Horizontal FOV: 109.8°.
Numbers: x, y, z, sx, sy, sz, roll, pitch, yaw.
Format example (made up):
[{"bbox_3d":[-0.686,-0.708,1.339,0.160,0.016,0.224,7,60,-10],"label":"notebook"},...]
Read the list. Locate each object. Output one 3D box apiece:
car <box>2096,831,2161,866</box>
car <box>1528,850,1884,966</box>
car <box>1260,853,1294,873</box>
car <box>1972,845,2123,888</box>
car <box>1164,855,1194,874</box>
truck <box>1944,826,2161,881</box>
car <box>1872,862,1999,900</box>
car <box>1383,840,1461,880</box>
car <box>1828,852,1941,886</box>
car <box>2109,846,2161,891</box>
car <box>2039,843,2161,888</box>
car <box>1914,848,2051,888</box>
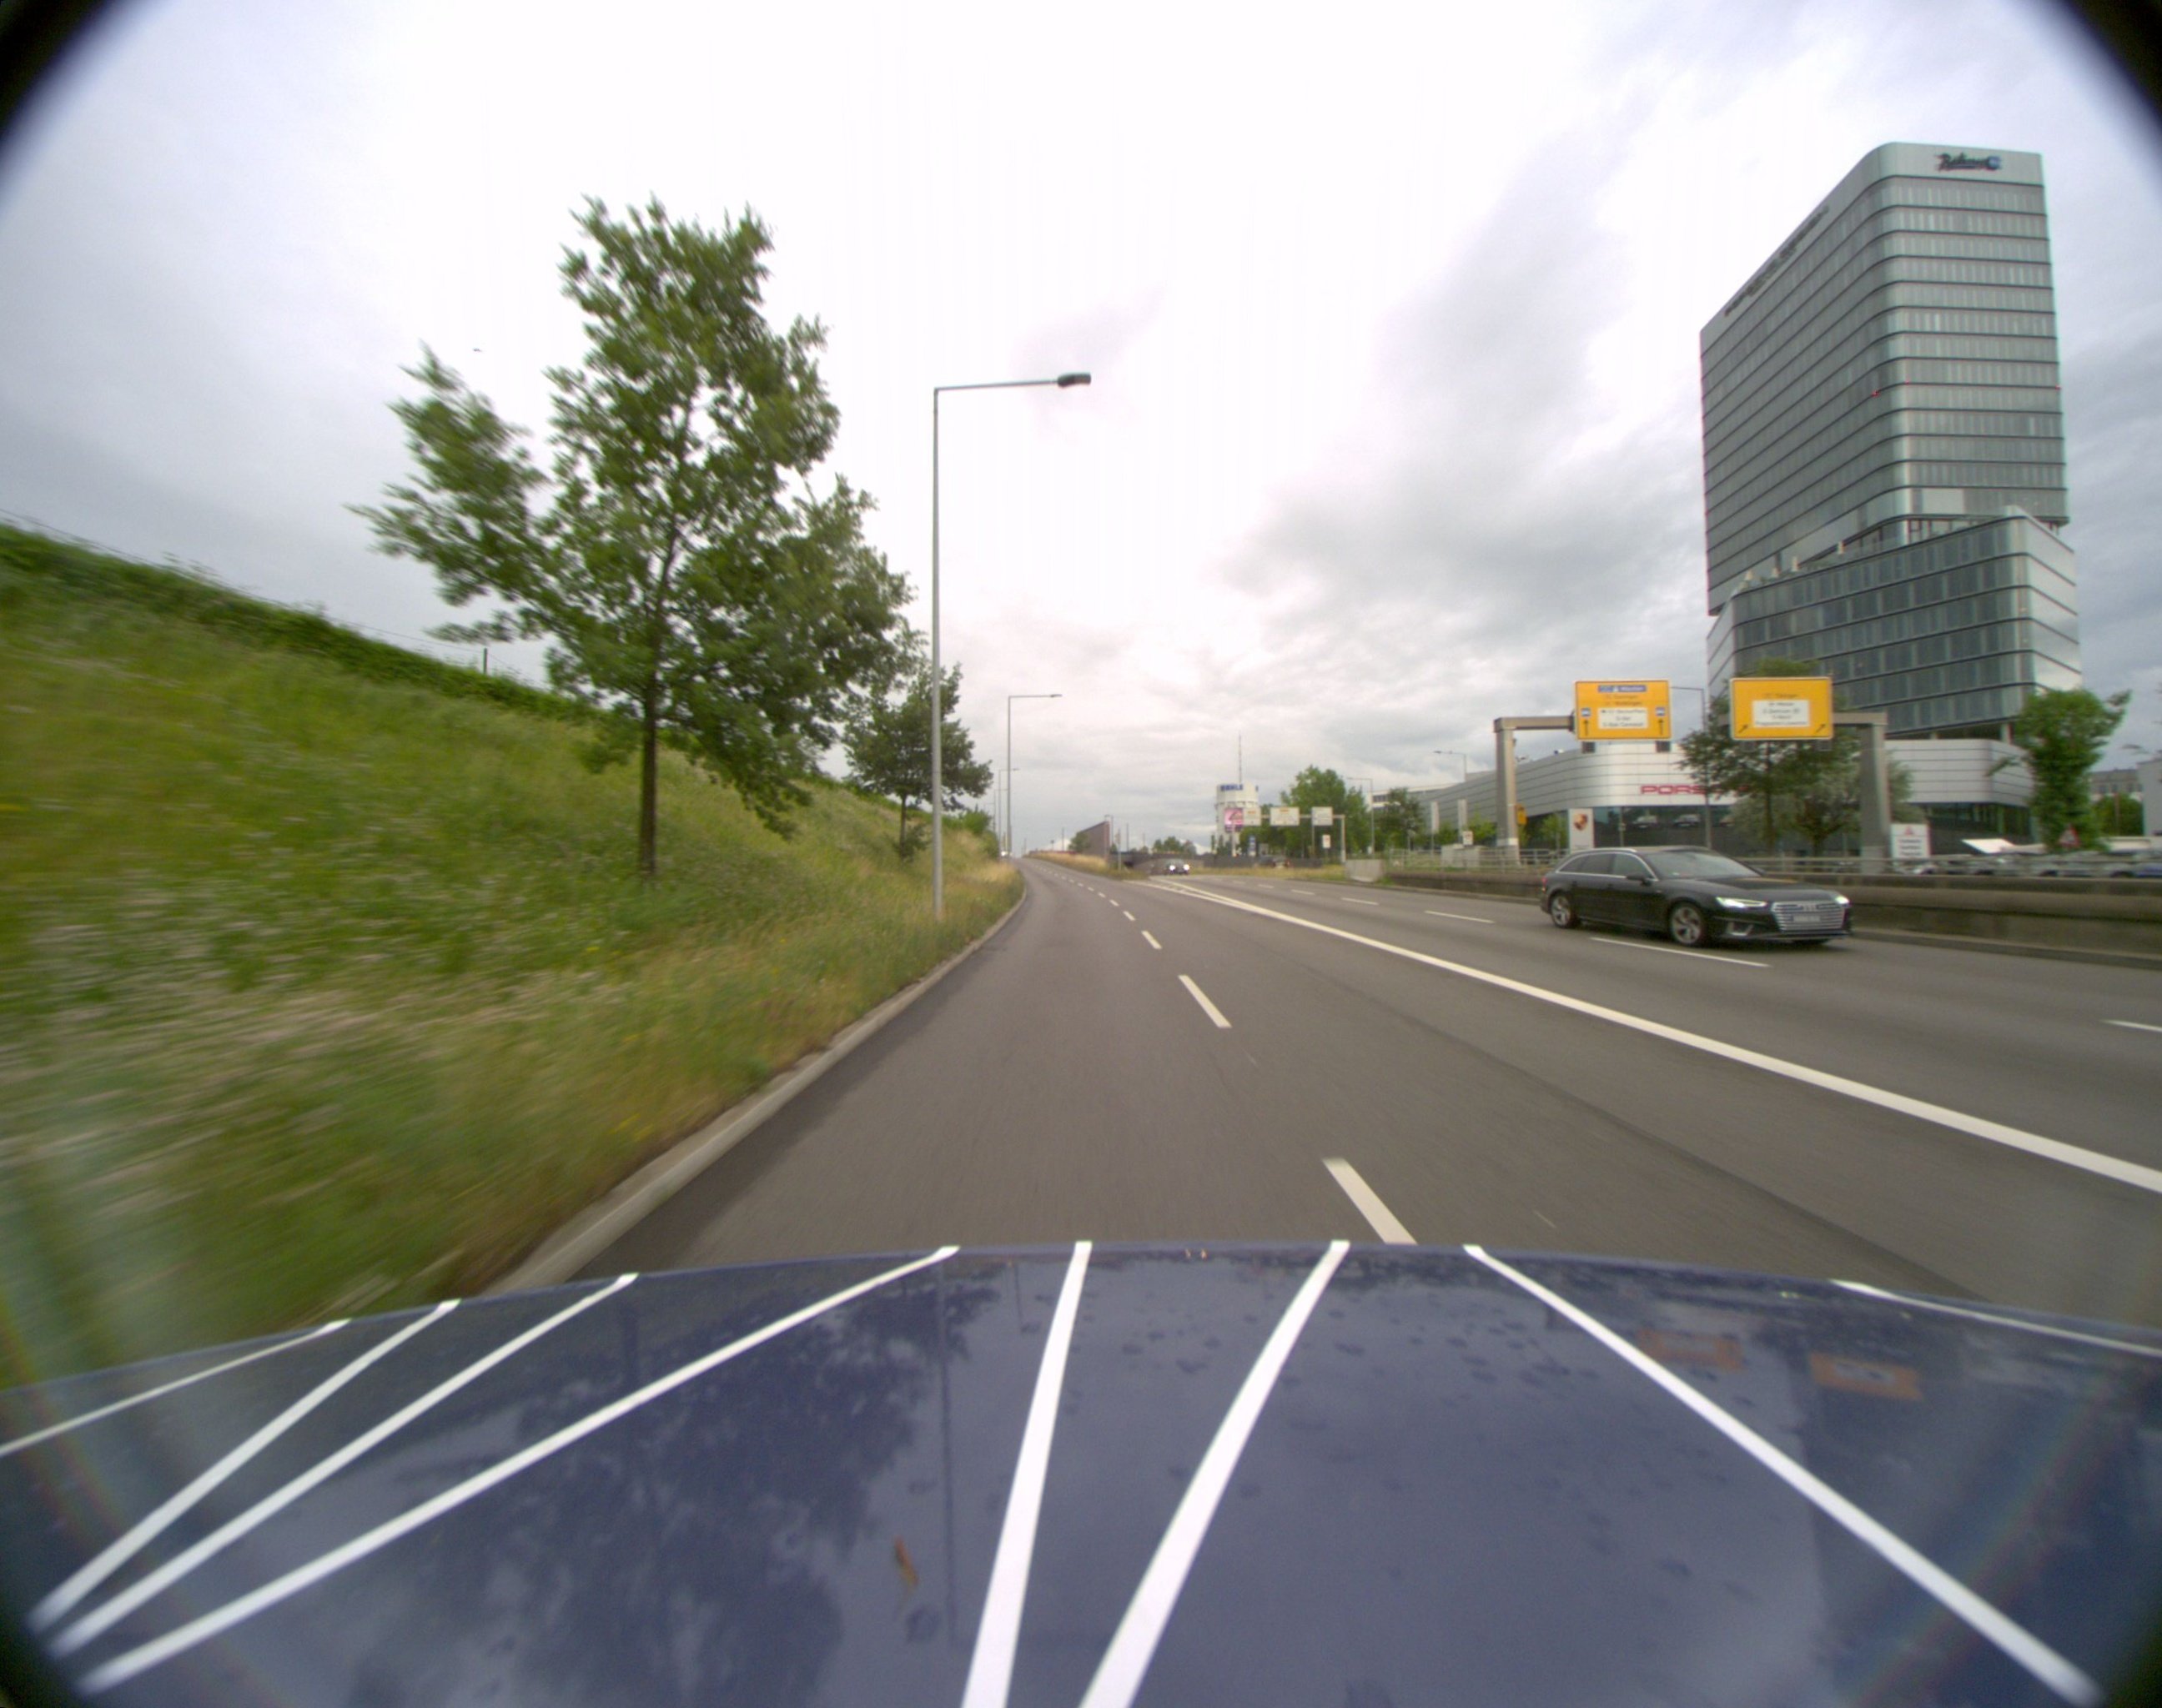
[{"bbox_3d":[55.107,-0.342,38.568,1.921,1.673,4.004,-3,-3,6],"label":"car"},{"bbox_3d":[9.165,0.667,11.801,1.814,1.411,4.632,-1,0,2],"label":"car"},{"bbox_3d":[19.203,0.896,74.771,1.815,1.818,4.630,-3,0,-4],"label":"car"},{"bbox_3d":[42.573,0.577,33.561,3.996,1.673,1.924,-3,-2,2],"label":"car"},{"bbox_3d":[8.942,0.944,69.565,1.873,1.622,3.998,-1,0,-4],"label":"car"},{"bbox_3d":[52.028,0.093,41.109,2.371,2.512,7.416,-3,-3,3],"label":"truck"},{"bbox_3d":[42.724,1.357,38.062,3.996,1.673,1.924,-3,-2,2],"label":"car"},{"bbox_3d":[14.868,0.314,33.320,1.692,1.580,3.550,-2,-3,-1],"label":"car"},{"bbox_3d":[42.742,0.831,40.488,4.010,1.590,1.700,-3,-2,2],"label":"car"},{"bbox_3d":[42.363,0.468,28.796,3.996,1.673,1.924,-3,-2,2],"label":"car"},{"bbox_3d":[42.602,0.464,31.139,3.996,1.673,1.924,-3,-2,2],"label":"car"},{"bbox_3d":[42.613,0.698,35.983,3.996,1.673,1.924,-3,-2,2],"label":"car"}]
